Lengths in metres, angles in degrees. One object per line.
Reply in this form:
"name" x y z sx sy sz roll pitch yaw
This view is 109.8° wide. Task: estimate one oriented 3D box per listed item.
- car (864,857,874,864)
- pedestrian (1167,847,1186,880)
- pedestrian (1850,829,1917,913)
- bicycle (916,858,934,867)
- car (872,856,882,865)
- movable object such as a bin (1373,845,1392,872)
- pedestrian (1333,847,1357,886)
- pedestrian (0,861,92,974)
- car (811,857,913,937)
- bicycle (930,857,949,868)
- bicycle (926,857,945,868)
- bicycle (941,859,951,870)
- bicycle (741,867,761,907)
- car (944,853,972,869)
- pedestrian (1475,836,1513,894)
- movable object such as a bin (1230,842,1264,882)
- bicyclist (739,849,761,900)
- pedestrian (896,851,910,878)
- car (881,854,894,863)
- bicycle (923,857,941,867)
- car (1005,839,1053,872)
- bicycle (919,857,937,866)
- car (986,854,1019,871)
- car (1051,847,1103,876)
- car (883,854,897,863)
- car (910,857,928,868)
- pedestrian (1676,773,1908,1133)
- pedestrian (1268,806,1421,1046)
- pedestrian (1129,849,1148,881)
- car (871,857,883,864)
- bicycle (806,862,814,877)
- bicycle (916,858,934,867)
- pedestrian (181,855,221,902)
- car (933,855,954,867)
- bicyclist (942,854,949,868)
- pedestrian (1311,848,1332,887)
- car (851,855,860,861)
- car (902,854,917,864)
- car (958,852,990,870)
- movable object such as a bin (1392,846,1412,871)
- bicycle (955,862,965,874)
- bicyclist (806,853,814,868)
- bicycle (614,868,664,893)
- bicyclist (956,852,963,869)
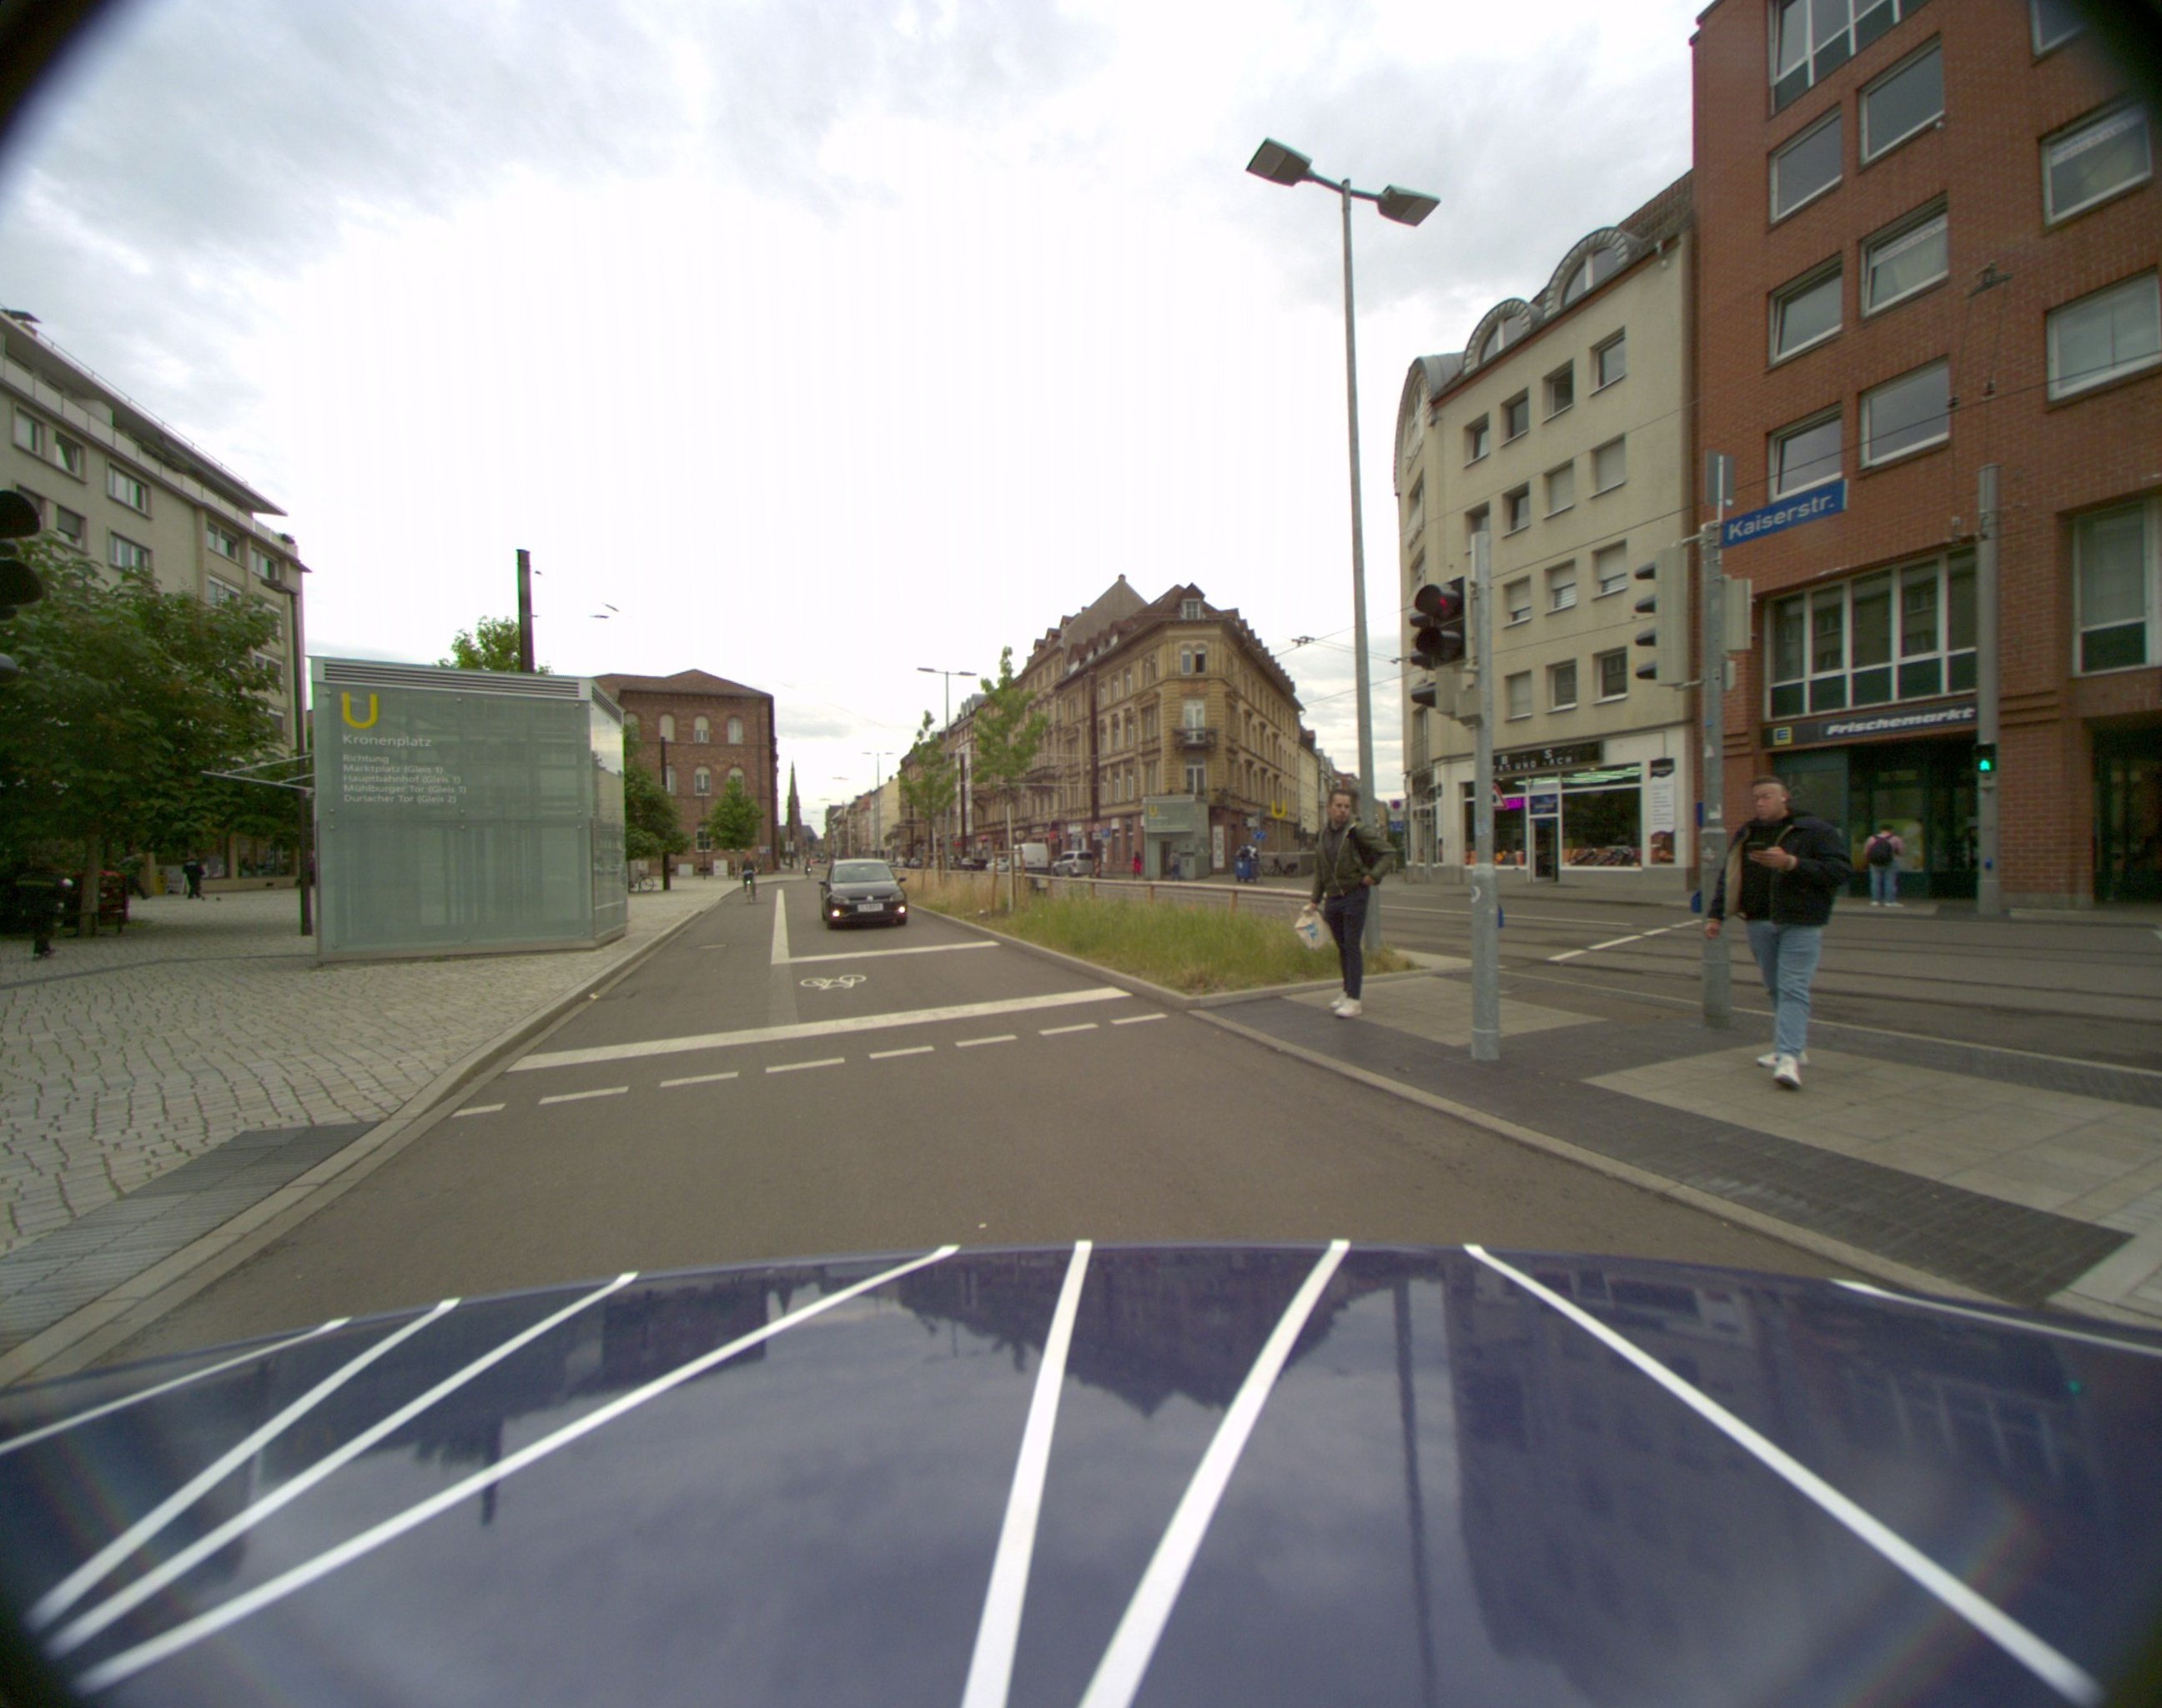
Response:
"car" -50.041 1.512 179.334 1.932 1.722 3.819 -3 1 -22
"pedestrian" 4.997 0.501 39.805 0.825 1.677 0.722 0 2 -4
"pedestrian" 16.551 0.328 15.680 0.571 1.675 0.797 -3 3 -26
"bicycle" -21.632 1.172 105.220 2.292 1.196 0.703 1 0 -21
"car" -42.682 1.362 159.187 1.710 1.746 3.913 0 0 -20
"movable object such as a bin" 17.588 0.250 44.298 0.944 1.492 1.240 -2 1 20
"pedestrian" 11.654 0.529 33.534 0.662 1.677 0.923 -1 2 -6
"pedestrian" -16.191 0.956 11.827 0.628 1.674 0.868 0 1 -25
"car" -5.032 0.868 17.162 1.750 1.538 3.643 -2 1 -23
"bicycle" -17.816 1.061 95.646 2.292 1.321 0.665 1 0 -21
"bicycle" -18.739 1.085 98.105 2.292 1.321 0.665 1 0 -21
"bicycle" -13.419 1.015 75.456 0.481 1.015 1.908 -1 0 -23
"bicycle" -11.249 1.094 25.920 0.525 1.253 1.937 -1 1 -21
"car" -13.836 0.762 85.165 1.821 1.680 5.021 0 0 -24
"pedestrian" 12.026 0.304 22.142 0.663 1.677 0.721 -2 2 -34
"movable object such as a bin" 8.343 0.368 38.234 1.035 1.970 1.614 -1 2 -15
"bicyclist" -11.275 0.683 25.911 0.571 1.674 0.792 -2 1 -20
"pedestrian" -12.596 0.724 53.731 0.873 1.890 0.771 0 0 -23
"car" -35.924 0.850 141.087 1.832 1.512 4.537 0 -1 -21
"bicycle" -19.898 1.106 101.566 2.292 1.321 0.665 1 0 -21
"car" -4.242 0.154 60.917 2.062 2.472 5.655 1 -1 -22
"bicycle" -20.945 1.066 104.096 2.292 1.196 0.703 1 0 -21
"car" -7.103 0.770 68.224 1.779 1.414 4.157 1 -1 -23
"car" -0.308 0.482 51.049 1.911 1.853 4.511 0 0 -23
"car" -34.374 0.837 136.697 1.751 1.456 4.039 0 0 -22
"car" -23.366 1.205 109.577 1.751 1.524 4.218 0 0 -22
"pedestrian" 4.108 0.509 4.433 0.613 1.879 0.797 -2 2 -24
"pedestrian" 2.244 0.554 6.514 0.900 1.879 0.797 -3 3 -24
"pedestrian" 3.035 0.573 40.285 0.724 1.677 0.660 -2 2 -32
"car" -41.595 1.391 154.874 1.654 1.372 3.429 0 -1 -25
"bicycle" -22.230 1.234 62.271 0.473 1.151 2.268 -1 1 -22
"bicycle" -21.749 1.156 105.909 2.292 1.196 0.546 -2 1 -21
"pedestrian" -33.280 0.936 28.753 0.774 1.741 0.719 1 0 17
"car" -16.807 0.865 92.463 1.751 1.479 3.913 0 0 -22
"bicyclist" -13.501 0.716 75.640 0.481 1.399 0.810 -1 1 -23
"pedestrian" 10.594 0.596 33.459 0.662 1.677 0.722 -1 2 -6
"car" -61.624 1.186 207.629 1.871 1.553 3.993 0 0 -21
"car" -26.944 0.776 119.090 1.751 1.479 3.913 0 0 -21
"car" -10.880 0.716 76.753 1.928 1.679 5.042 1 -1 -23
"movable object such as a bin" 18.523 0.251 43.873 1.008 1.397 1.240 -2 1 20
"bicycle" -11.120 1.268 69.772 0.478 1.015 1.908 -1 0 -23
"bicyclist" -22.262 0.526 62.354 0.588 1.164 0.661 -1 1 -22
"bicycle" -21.248 1.258 36.514 1.920 1.116 0.644 -2 1 -11
"bicyclist" -11.174 0.589 69.877 0.493 1.531 0.810 -1 1 -23
